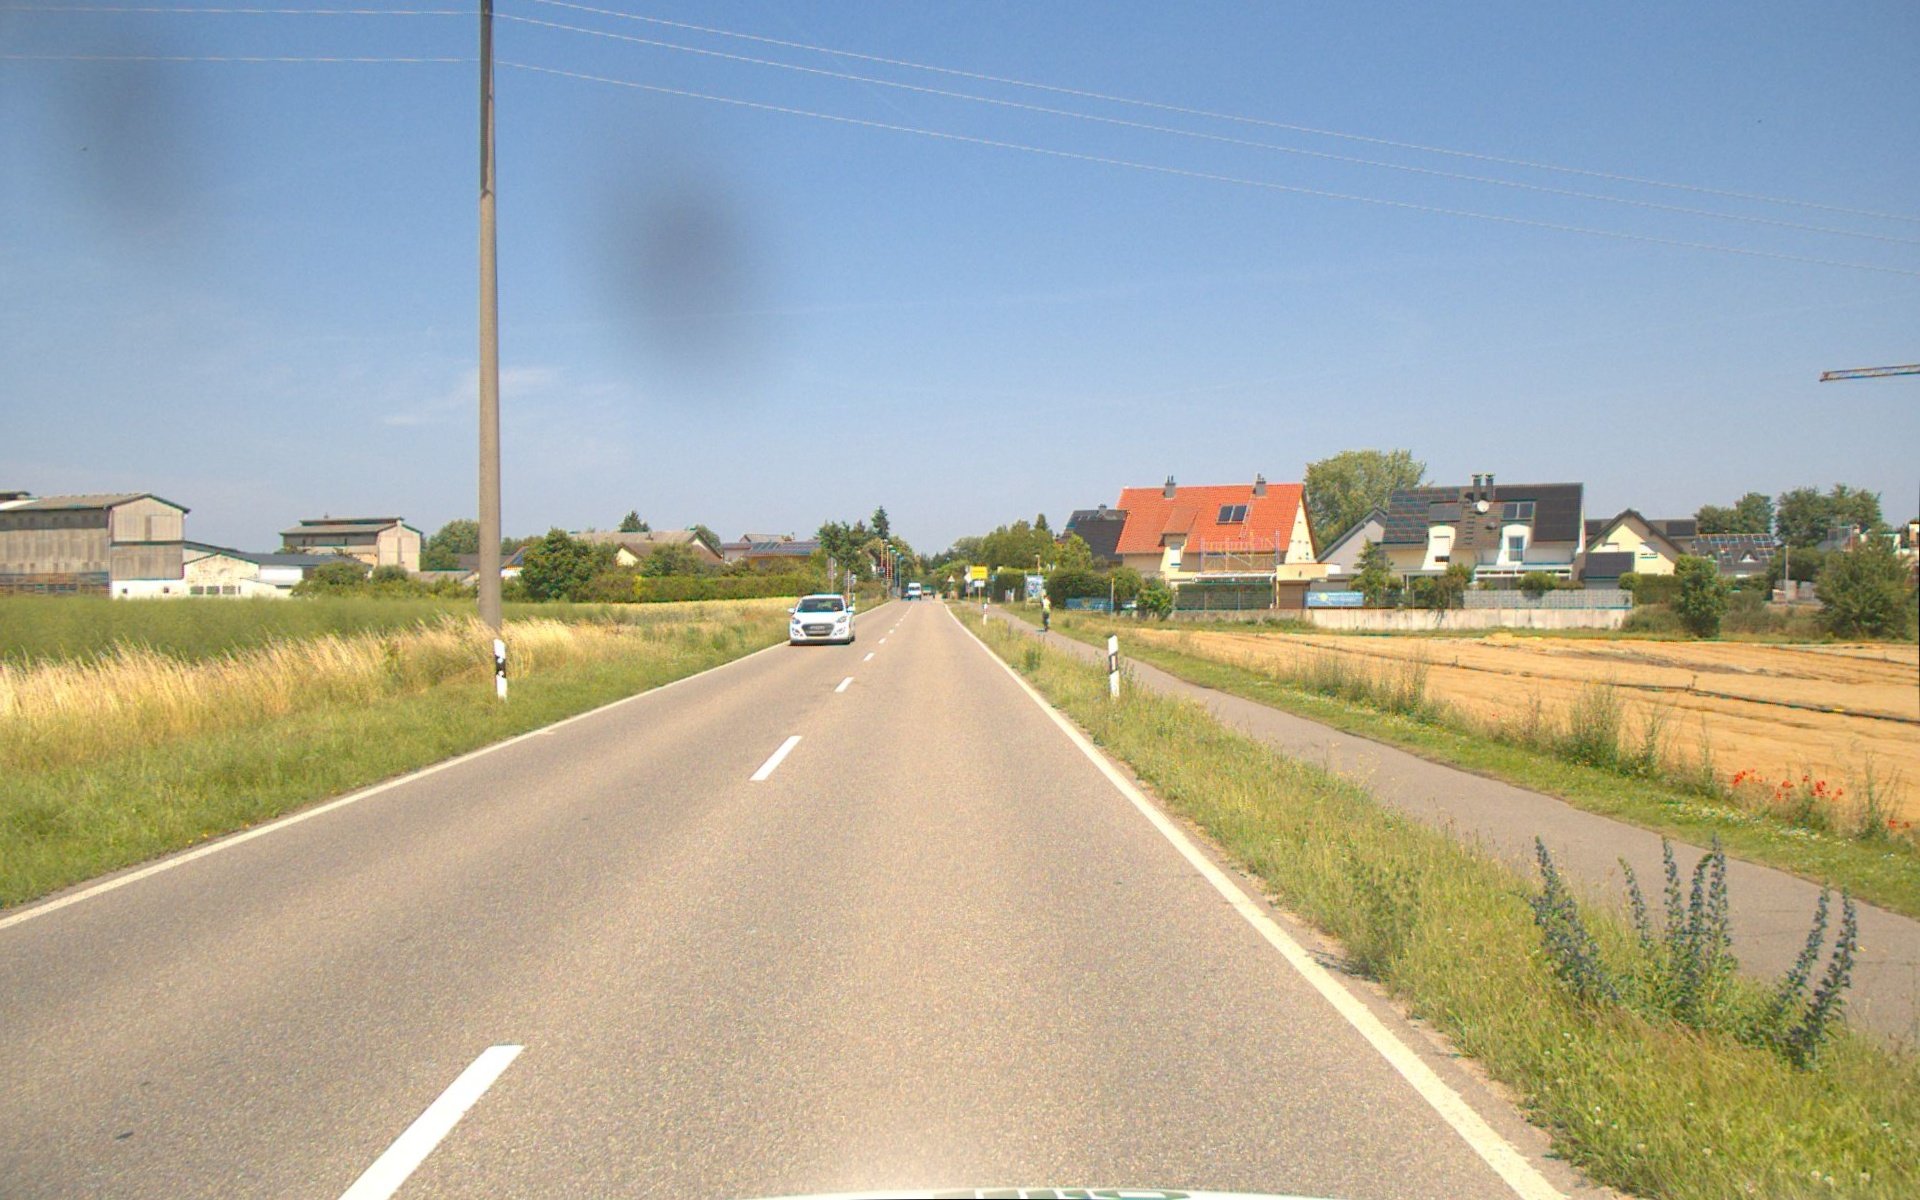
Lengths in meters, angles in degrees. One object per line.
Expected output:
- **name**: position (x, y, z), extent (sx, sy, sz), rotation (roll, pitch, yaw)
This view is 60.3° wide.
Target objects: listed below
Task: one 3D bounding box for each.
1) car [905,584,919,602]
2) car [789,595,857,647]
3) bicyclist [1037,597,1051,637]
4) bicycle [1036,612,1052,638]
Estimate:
- **car**: position (-7.341, -1.058, 250.975), extent (2.035, 2.586, 5.871), rotation (-1, 1, -2)
- **car**: position (-4.054, 0.597, 49.405), extent (1.755, 1.434, 4.184), rotation (-1, 0, -1)
- **bicyclist**: position (4.169, 0.847, 82.201), extent (0.632, 1.922, 0.860), rotation (1, 1, -2)
- **bicycle**: position (4.160, 1.226, 82.336), extent (0.598, 1.179, 2.273), rotation (1, 1, -2)
